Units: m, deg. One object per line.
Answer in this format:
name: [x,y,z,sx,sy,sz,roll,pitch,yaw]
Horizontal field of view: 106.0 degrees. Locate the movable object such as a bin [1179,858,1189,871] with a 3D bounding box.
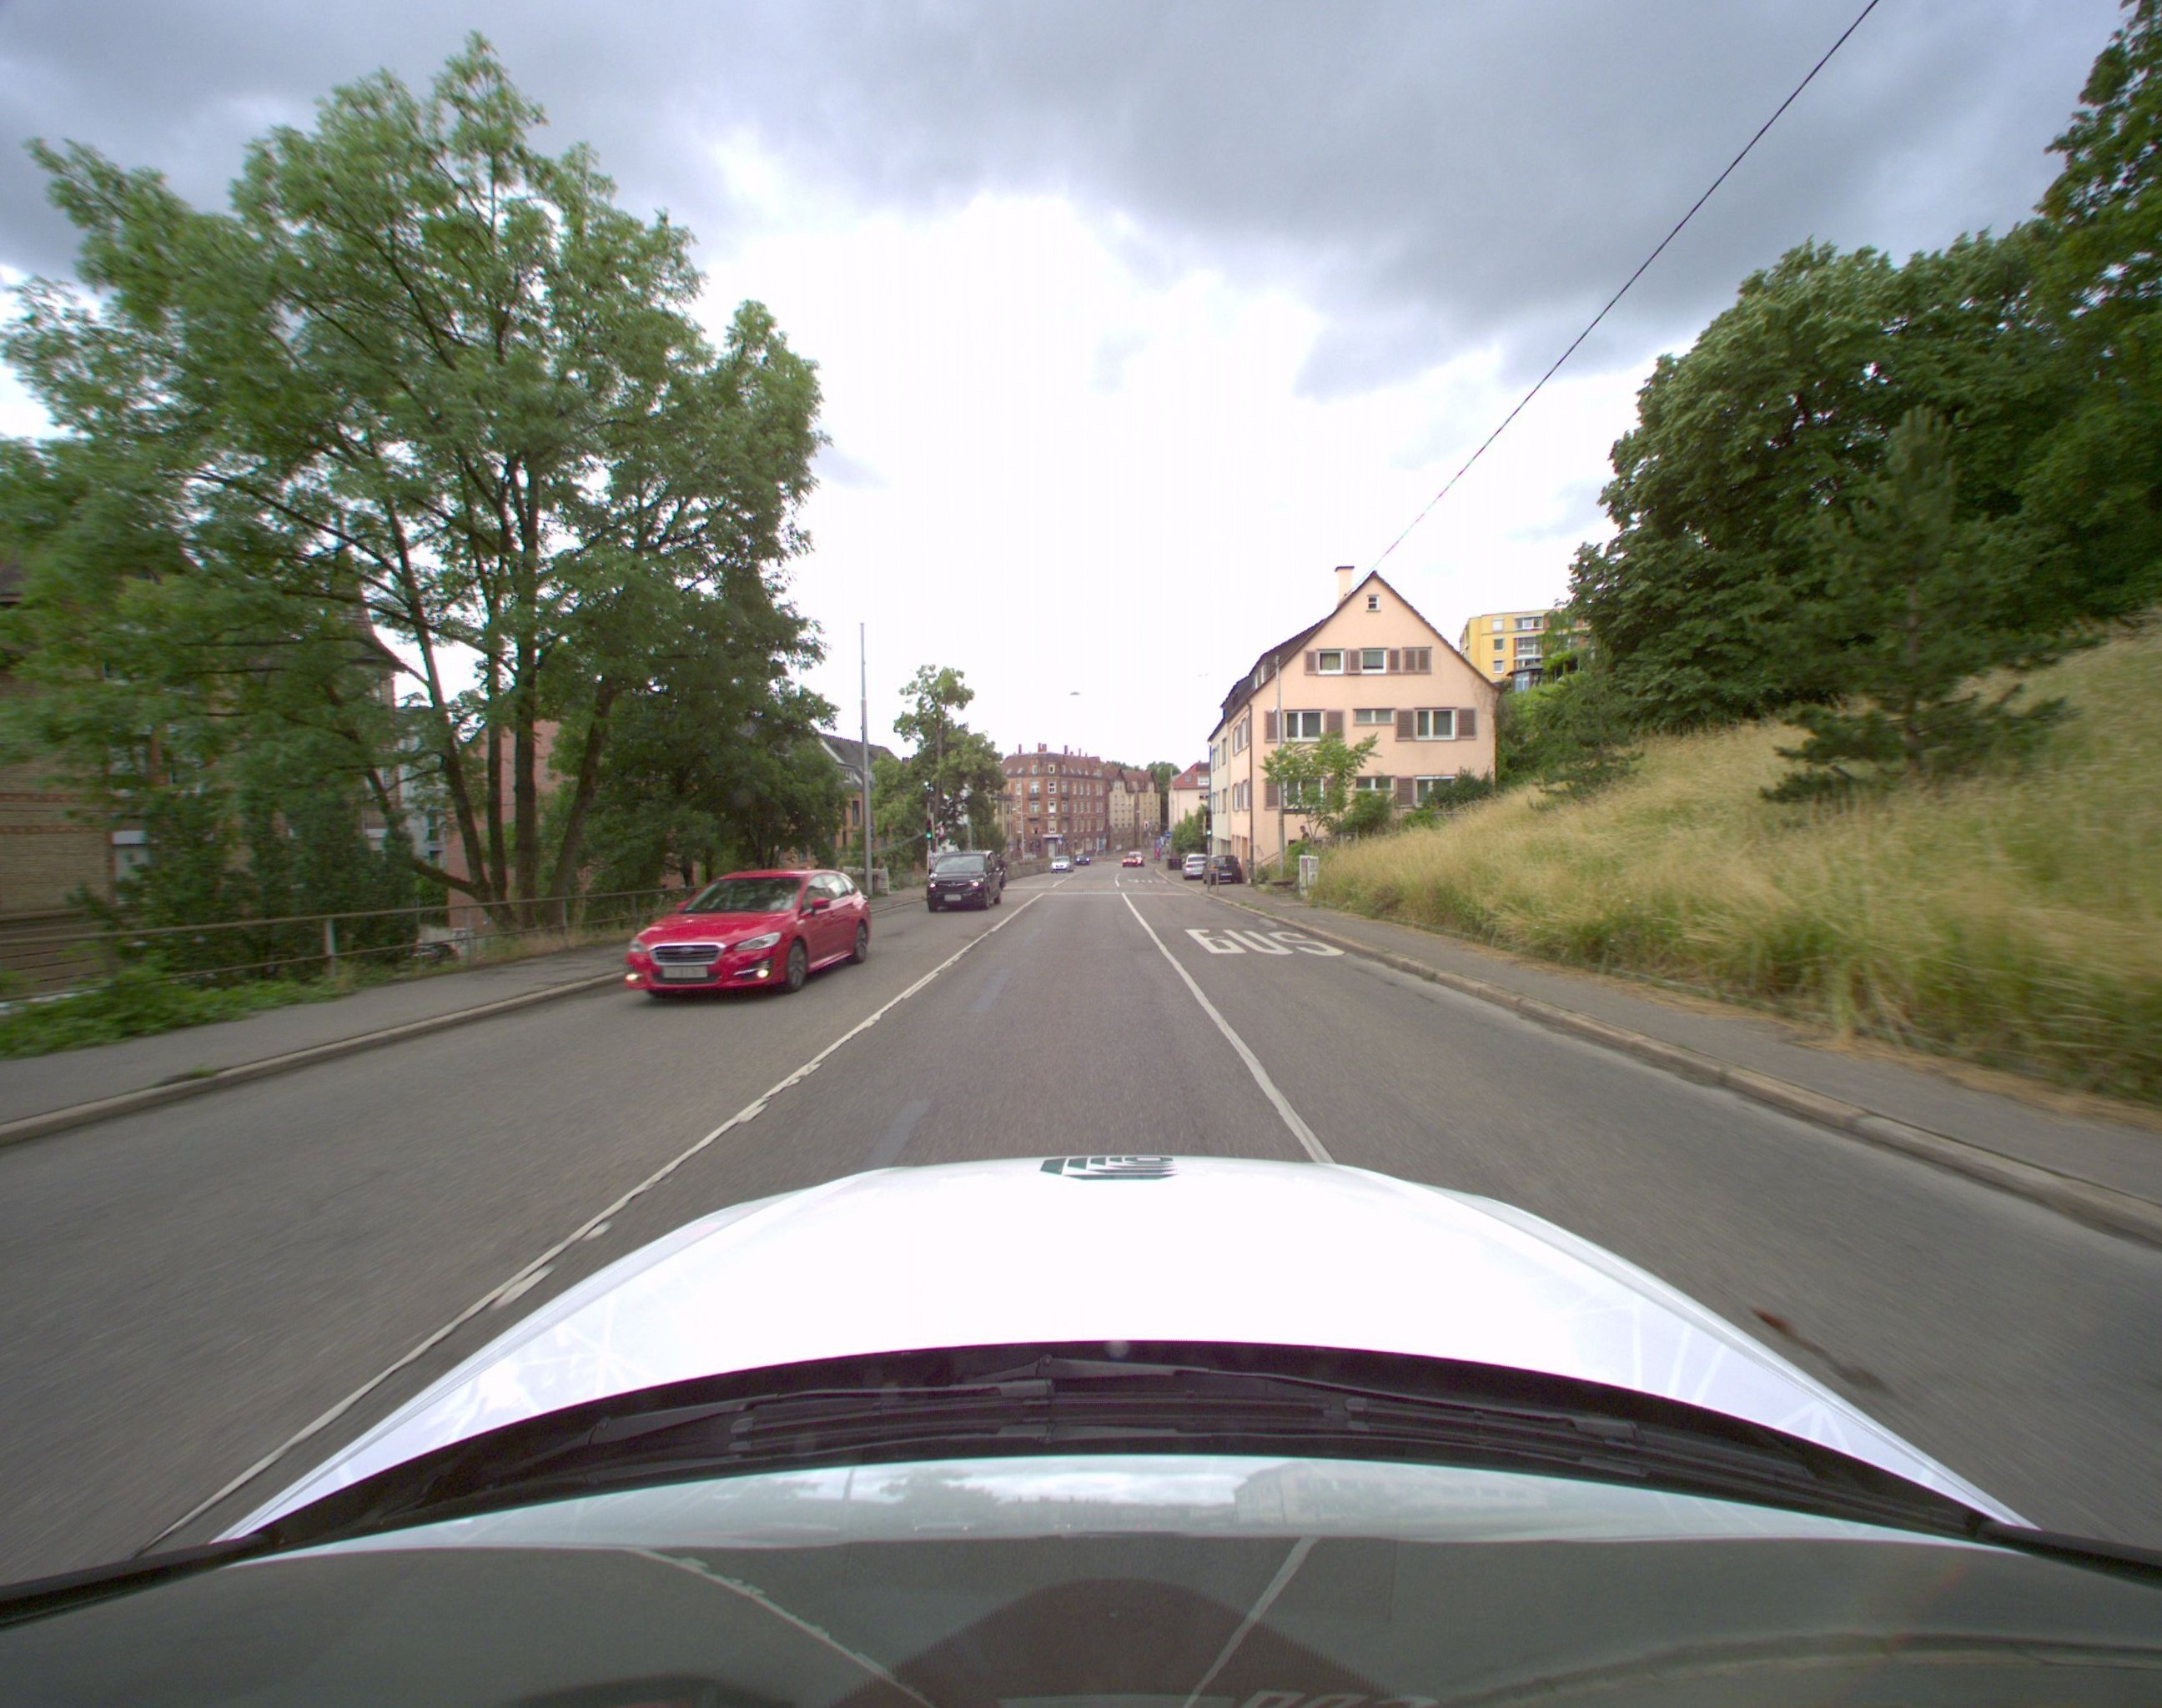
movable object such as a bin: [8.770,0.917,69.413,0.710,1.058,0.544,-1,-1,-13]

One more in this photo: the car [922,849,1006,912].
car: [-3.549,0.769,25.481,1.777,1.746,4.431,-2,0,2]

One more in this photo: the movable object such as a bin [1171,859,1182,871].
movable object such as a bin: [8.355,0.934,70.990,0.743,1.058,0.676,-1,-1,-13]

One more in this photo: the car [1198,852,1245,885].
car: [6.991,0.697,40.814,1.675,1.451,4.002,-5,-1,2]

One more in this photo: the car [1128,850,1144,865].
car: [7.316,0.472,108.073,1.899,1.884,4.007,0,0,6]

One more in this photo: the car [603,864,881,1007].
car: [-4.211,0.910,11.034,1.777,1.459,4.430,-2,0,1]

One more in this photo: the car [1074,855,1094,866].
car: [0.503,0.960,123.176,1.968,1.575,4.390,-3,0,13]

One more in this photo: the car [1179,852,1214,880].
car: [7.028,0.693,49.737,1.786,1.451,4.725,-4,0,5]

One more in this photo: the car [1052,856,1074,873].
car: [-1.622,0.923,73.037,1.714,1.445,4.160,-2,0,1]

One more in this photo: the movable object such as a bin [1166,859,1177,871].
movable object such as a bin: [7.951,0.948,71.671,0.743,1.058,0.676,-1,-1,-13]

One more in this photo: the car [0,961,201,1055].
car: [-23.732,3.537,18.989,1.784,1.510,4.010,-2,0,8]

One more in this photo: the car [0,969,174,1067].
car: [-22.092,3.464,16.889,1.784,1.510,4.010,-2,0,8]

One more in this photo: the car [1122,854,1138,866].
car: [6.080,0.728,101.081,1.807,1.430,4.007,0,0,6]

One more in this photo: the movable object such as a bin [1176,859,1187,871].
movable object such as a bin: [8.686,0.927,70.118,0.743,1.058,0.676,-1,-1,-13]

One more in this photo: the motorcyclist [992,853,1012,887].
motorcyclist: [-3.635,0.732,37.552,0.782,1.516,0.668,-2,0,1]

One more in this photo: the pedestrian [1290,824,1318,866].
pedestrian: [9.191,-0.371,33.585,0.884,1.696,0.872,1,-1,-2]

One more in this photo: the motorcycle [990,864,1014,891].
motorcycle: [-3.625,1.074,37.525,0.782,1.145,2.057,-2,0,1]

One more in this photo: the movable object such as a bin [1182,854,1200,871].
movable object such as a bin: [9.191,0.702,68.128,1.048,1.445,1.412,-1,-1,-13]

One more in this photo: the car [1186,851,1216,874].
car: [8.080,0.572,55.200,1.785,1.423,4.011,-3,0,6]
